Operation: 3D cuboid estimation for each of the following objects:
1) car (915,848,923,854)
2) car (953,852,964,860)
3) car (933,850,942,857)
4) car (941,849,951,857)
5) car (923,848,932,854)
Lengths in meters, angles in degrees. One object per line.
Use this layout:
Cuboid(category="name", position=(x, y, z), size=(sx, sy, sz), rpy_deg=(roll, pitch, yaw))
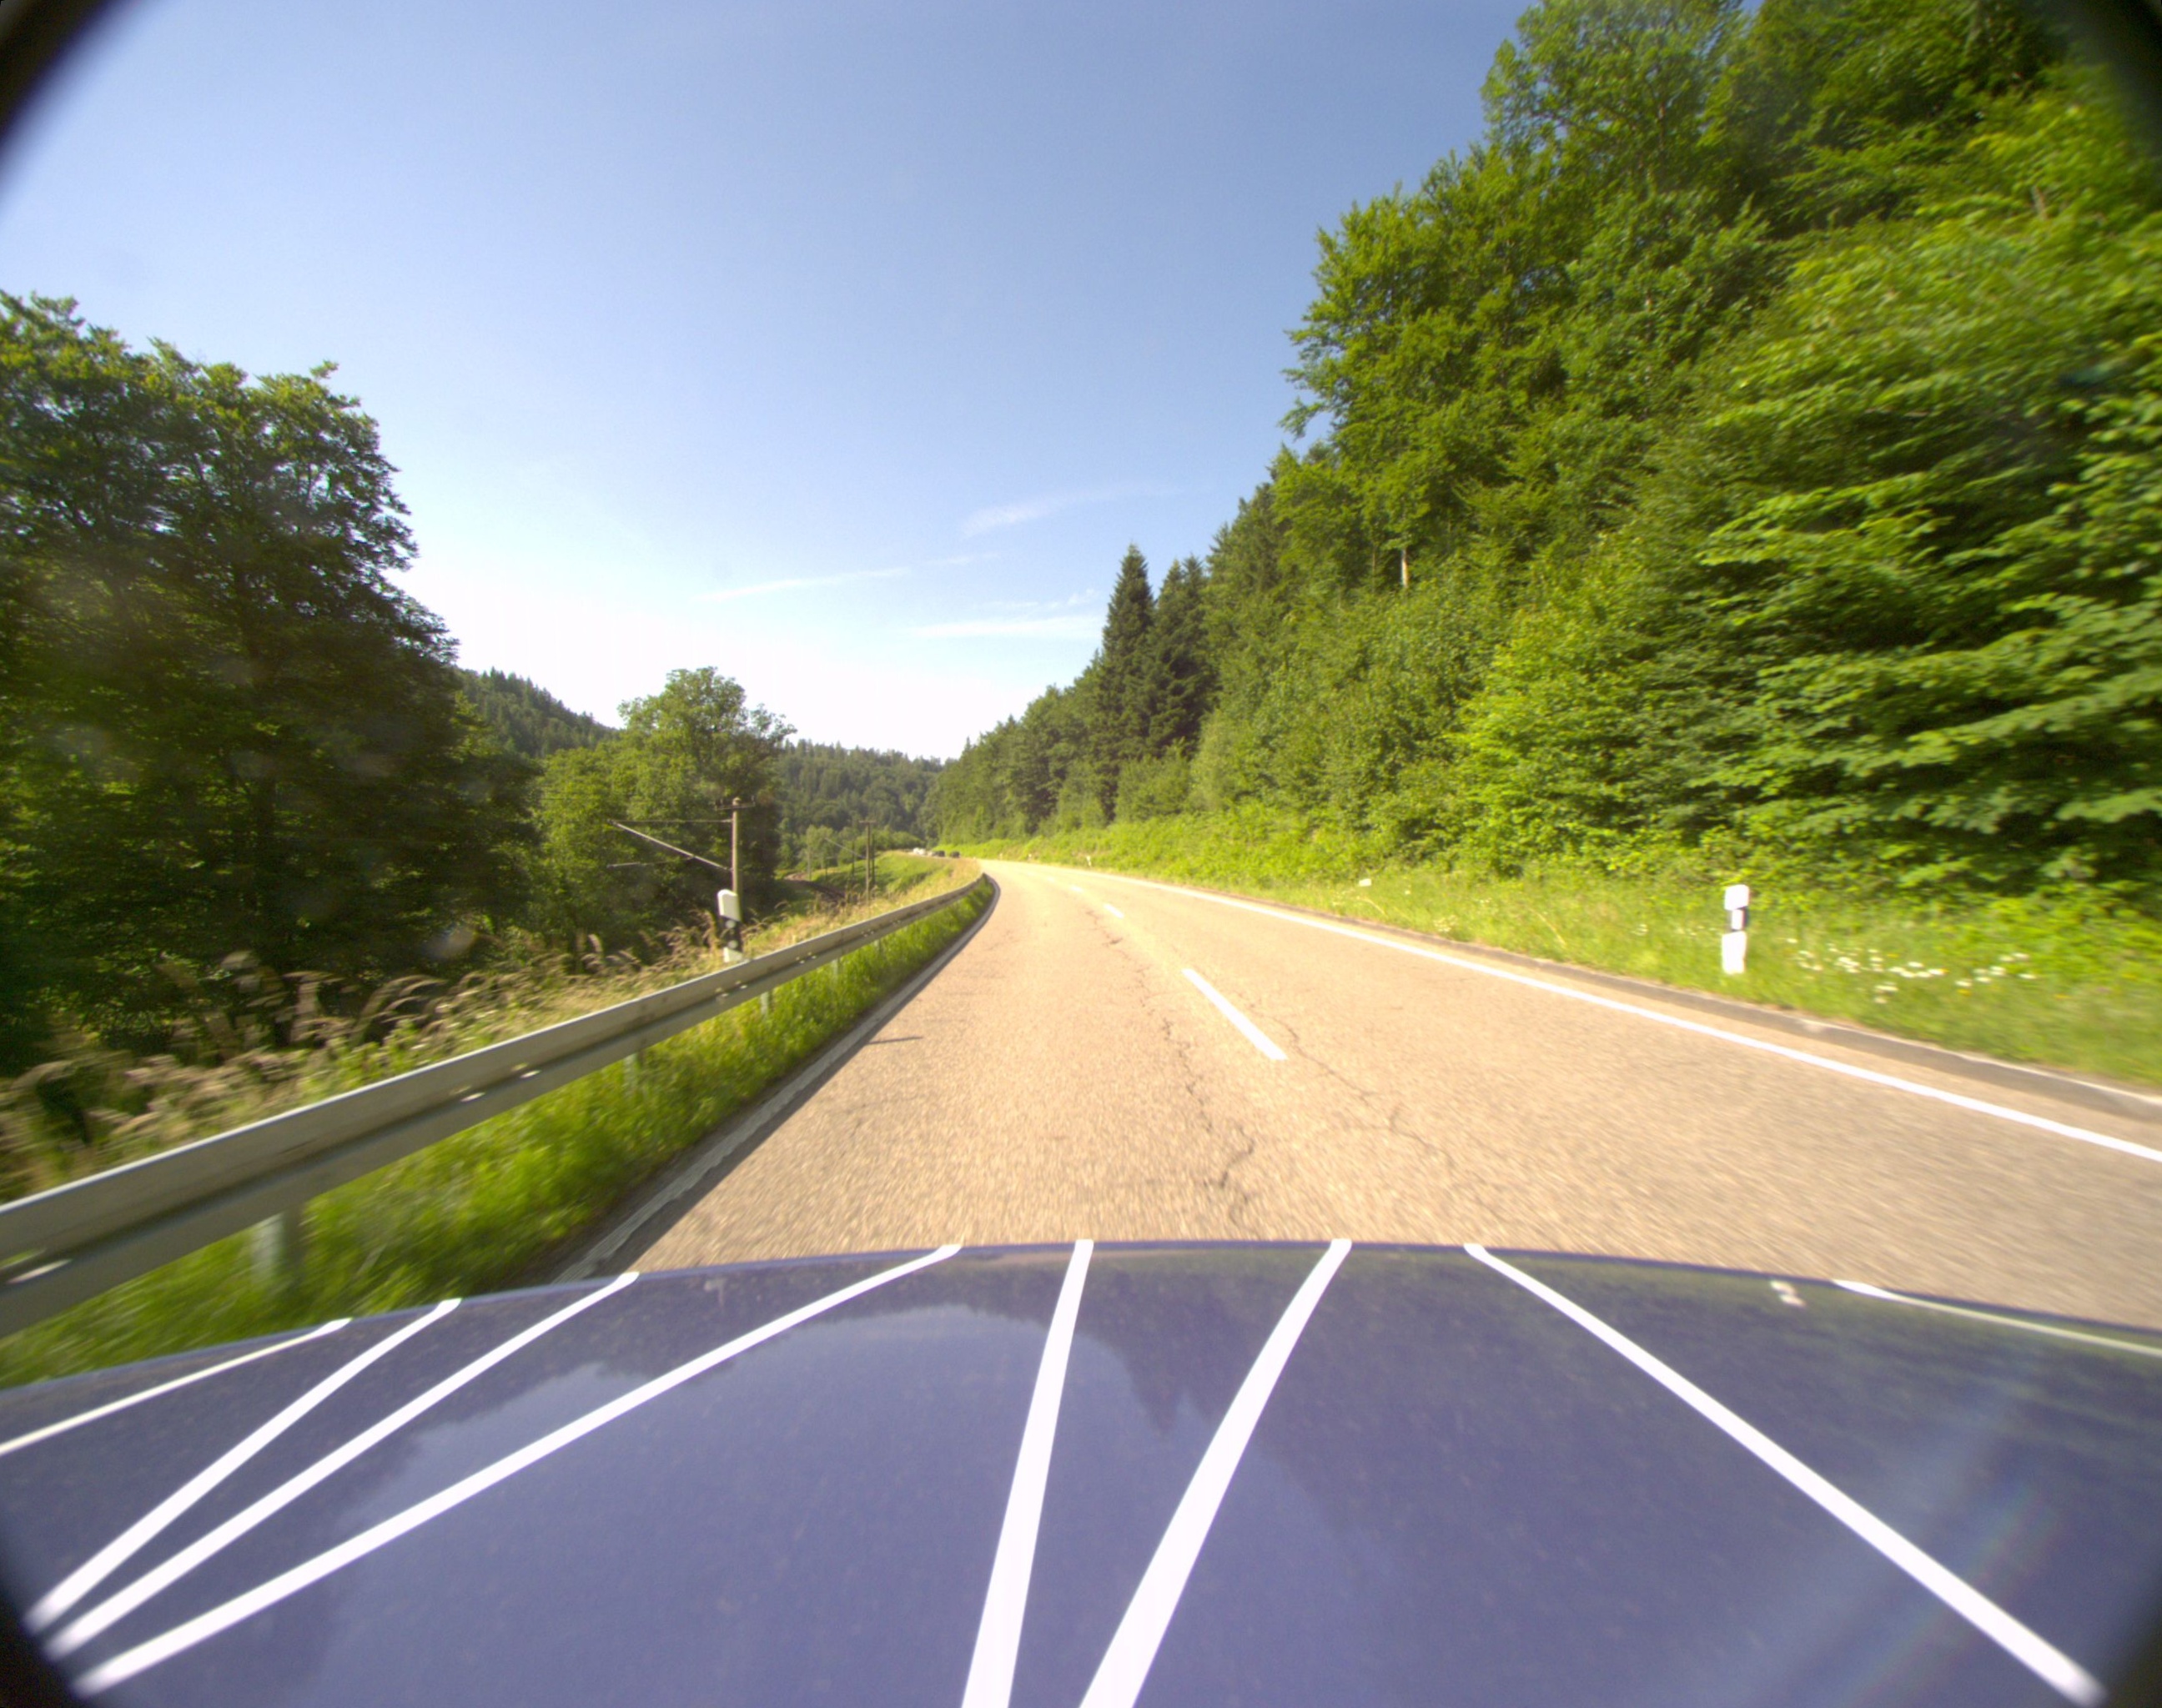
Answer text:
Cuboid(category="car", position=(-51.023, -0.909, 239.550), size=(1.875, 1.614, 4.466), rpy_deg=(-1, 1, -17))
Cuboid(category="car", position=(-23.758, 0.334, 147.331), size=(1.864, 1.520, 3.996), rpy_deg=(-1, 0, -11))
Cuboid(category="car", position=(-34.225, -0.120, 180.716), size=(1.840, 1.423, 4.672), rpy_deg=(-1, 0, -15))
Cuboid(category="car", position=(-29.626, -0.193, 166.844), size=(1.839, 1.619, 4.346), rpy_deg=(-1, 1, -14))
Cuboid(category="car", position=(-41.935, -0.723, 207.023), size=(2.001, 1.673, 4.898), rpy_deg=(0, 0, -16))
